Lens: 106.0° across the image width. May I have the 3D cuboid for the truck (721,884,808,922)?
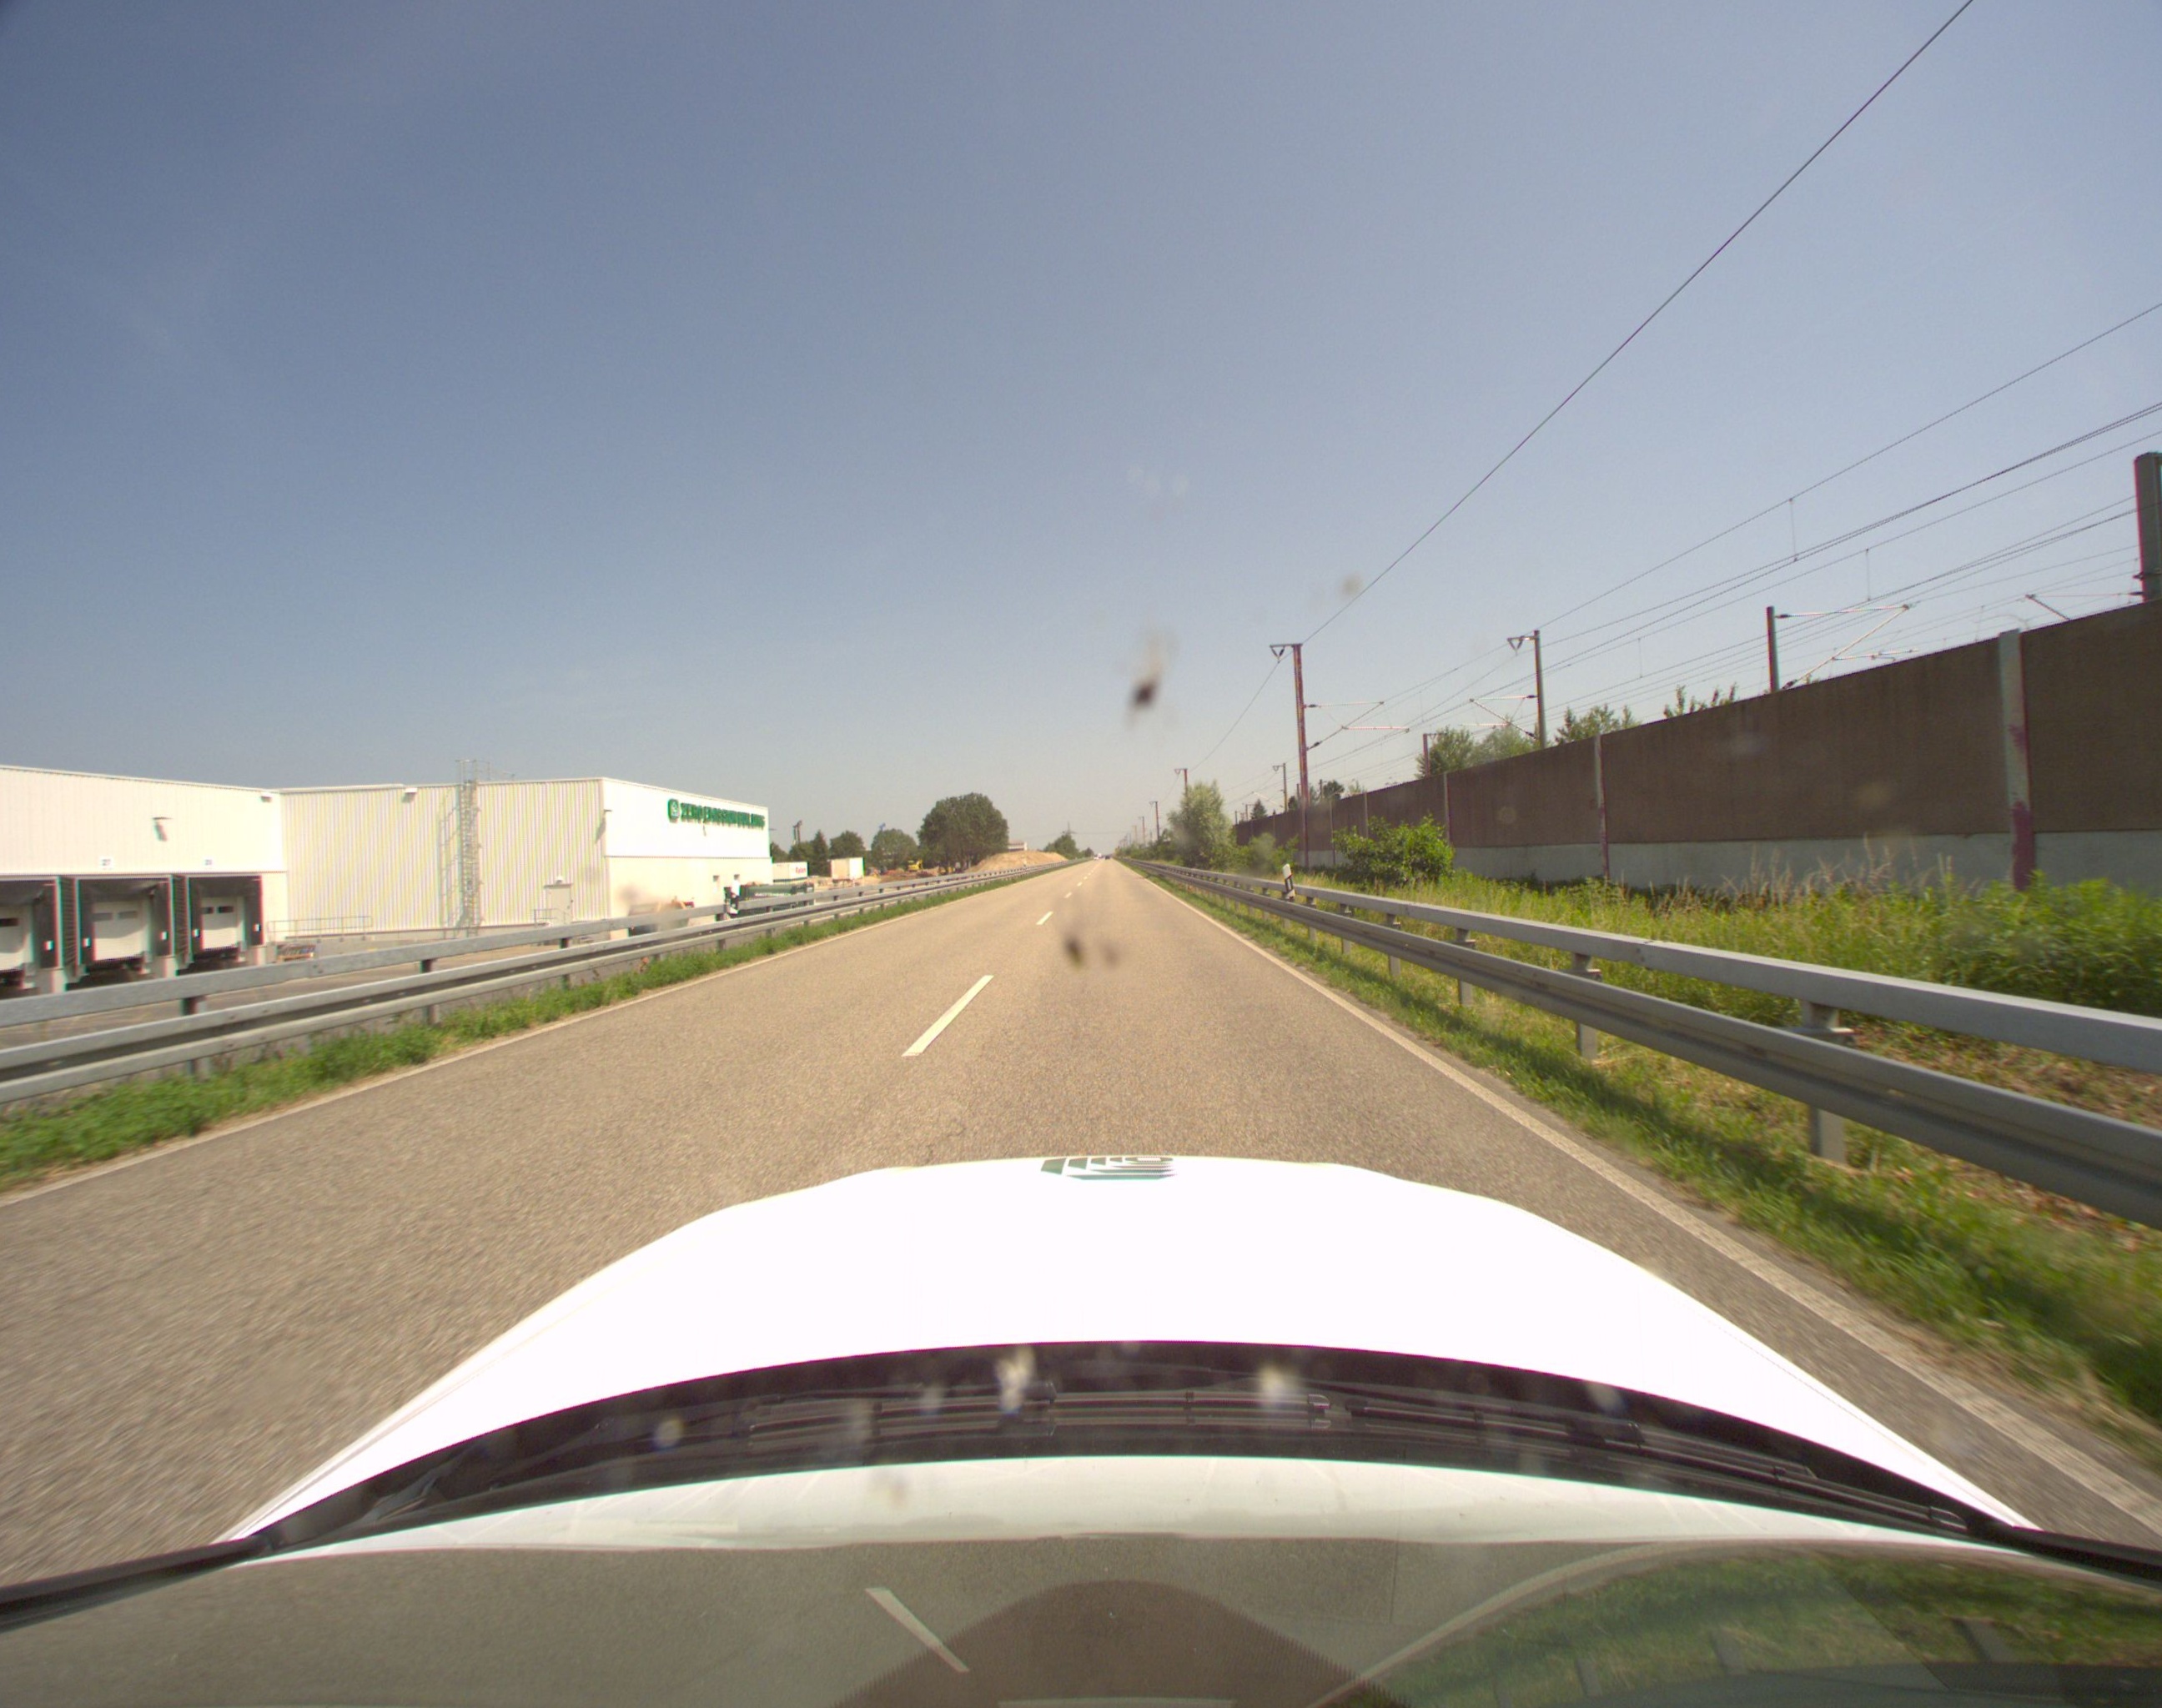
[{"bbox_3d":[-21.625,3.305,55.846,4.990,2.333,2.233,-2,0,1],"label":"truck"}]

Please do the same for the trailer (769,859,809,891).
[{"bbox_3d":[-40.407,2.809,112.995,2.736,4.147,7.894,-2,0,-1],"label":"trailer"}]

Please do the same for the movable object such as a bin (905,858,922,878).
[{"bbox_3d":[-33.746,2.797,163.638,2.627,3.652,5.429,-4,0,-17],"label":"movable object such as a bin"}]

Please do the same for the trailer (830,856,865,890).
[{"bbox_3d":[-32.286,2.529,112.798,2.672,4.332,7.946,-2,0,-2],"label":"trailer"}]

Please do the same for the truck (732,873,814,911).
[{"bbox_3d":[-22.375,2.724,59.324,5.033,2.537,2.271,-1,-1,-3],"label":"truck"}]
